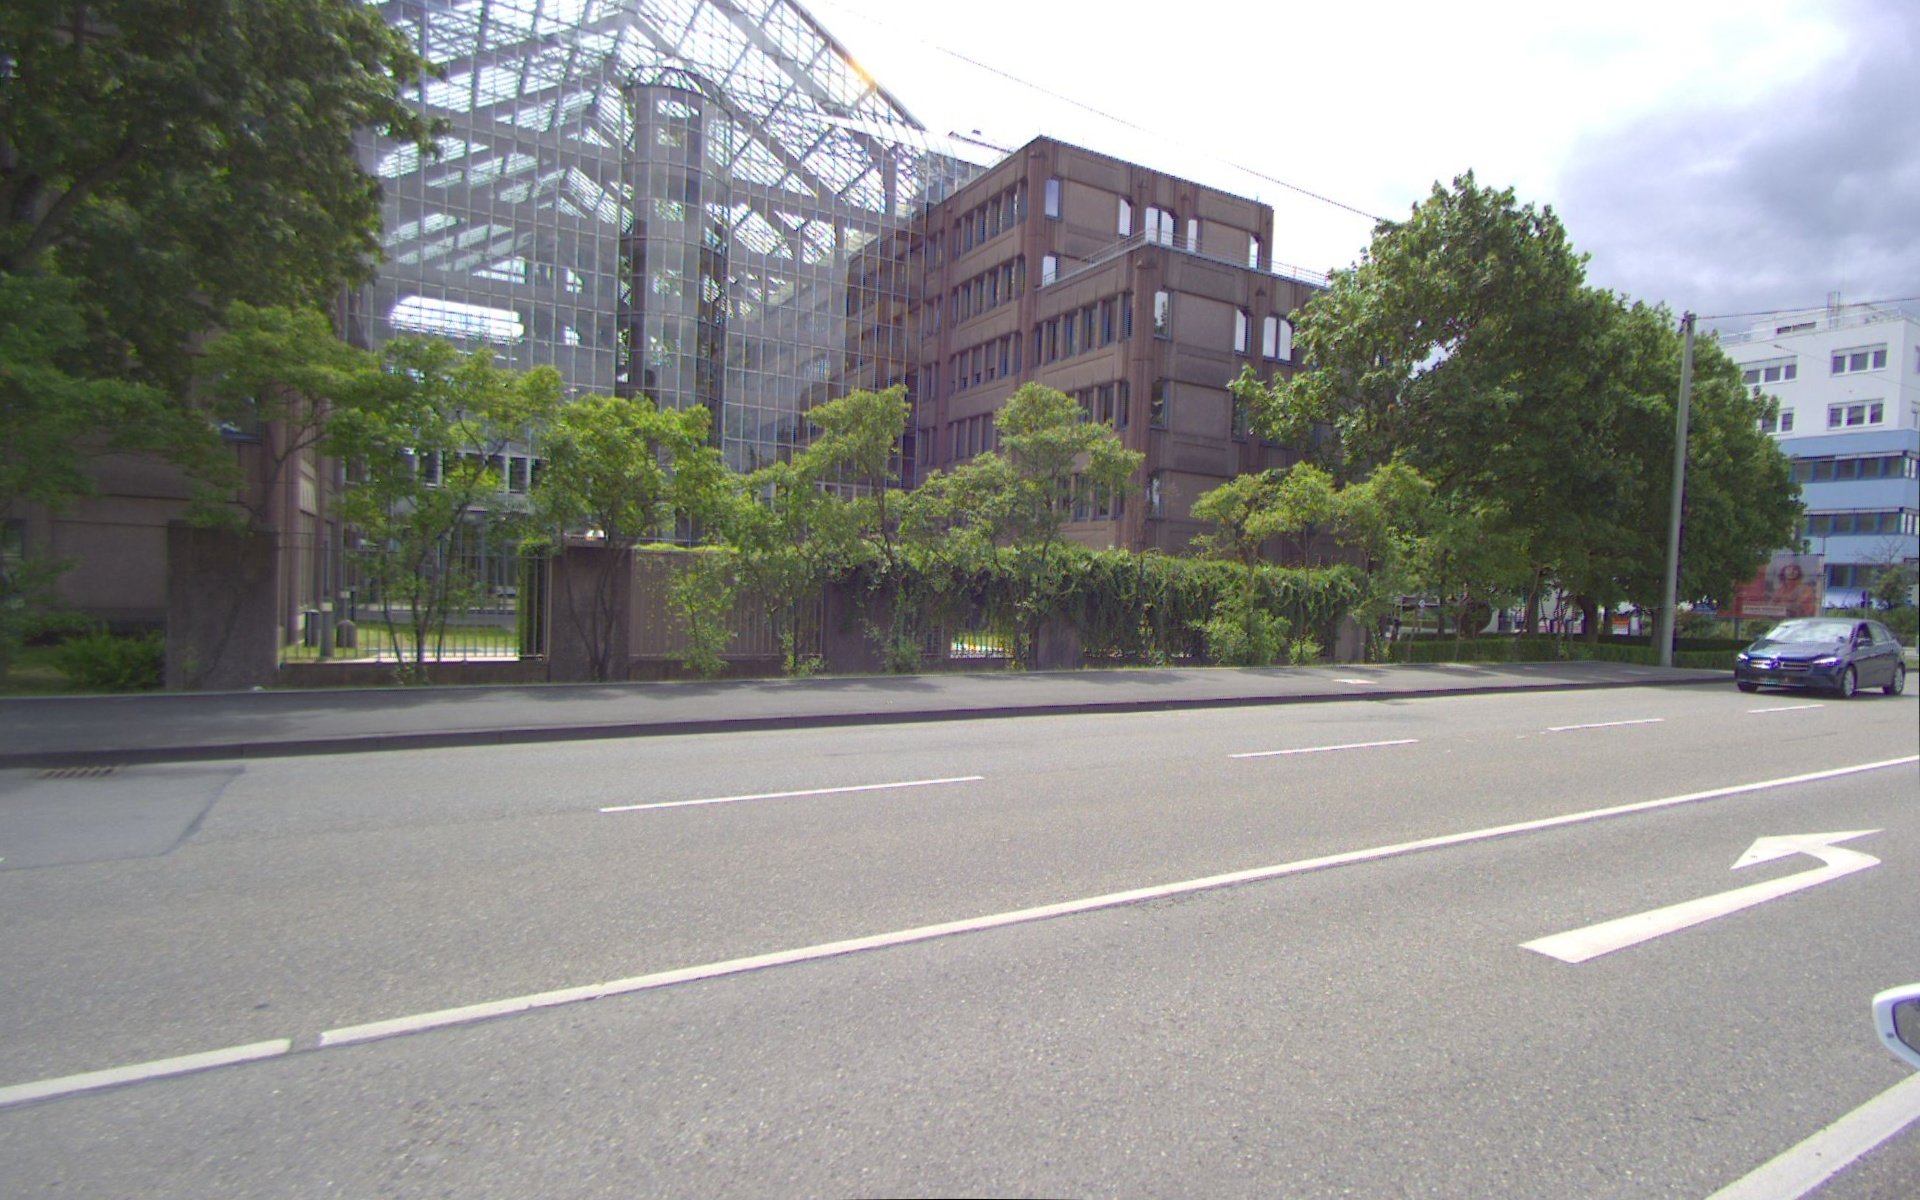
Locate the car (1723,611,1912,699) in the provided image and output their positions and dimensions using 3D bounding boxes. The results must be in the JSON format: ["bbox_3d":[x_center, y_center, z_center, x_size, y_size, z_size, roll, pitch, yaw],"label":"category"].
[{"bbox_3d":[17.786,1.093,20.797,4.266,1.606,1.786,2,0,-32],"label":"car"}]
